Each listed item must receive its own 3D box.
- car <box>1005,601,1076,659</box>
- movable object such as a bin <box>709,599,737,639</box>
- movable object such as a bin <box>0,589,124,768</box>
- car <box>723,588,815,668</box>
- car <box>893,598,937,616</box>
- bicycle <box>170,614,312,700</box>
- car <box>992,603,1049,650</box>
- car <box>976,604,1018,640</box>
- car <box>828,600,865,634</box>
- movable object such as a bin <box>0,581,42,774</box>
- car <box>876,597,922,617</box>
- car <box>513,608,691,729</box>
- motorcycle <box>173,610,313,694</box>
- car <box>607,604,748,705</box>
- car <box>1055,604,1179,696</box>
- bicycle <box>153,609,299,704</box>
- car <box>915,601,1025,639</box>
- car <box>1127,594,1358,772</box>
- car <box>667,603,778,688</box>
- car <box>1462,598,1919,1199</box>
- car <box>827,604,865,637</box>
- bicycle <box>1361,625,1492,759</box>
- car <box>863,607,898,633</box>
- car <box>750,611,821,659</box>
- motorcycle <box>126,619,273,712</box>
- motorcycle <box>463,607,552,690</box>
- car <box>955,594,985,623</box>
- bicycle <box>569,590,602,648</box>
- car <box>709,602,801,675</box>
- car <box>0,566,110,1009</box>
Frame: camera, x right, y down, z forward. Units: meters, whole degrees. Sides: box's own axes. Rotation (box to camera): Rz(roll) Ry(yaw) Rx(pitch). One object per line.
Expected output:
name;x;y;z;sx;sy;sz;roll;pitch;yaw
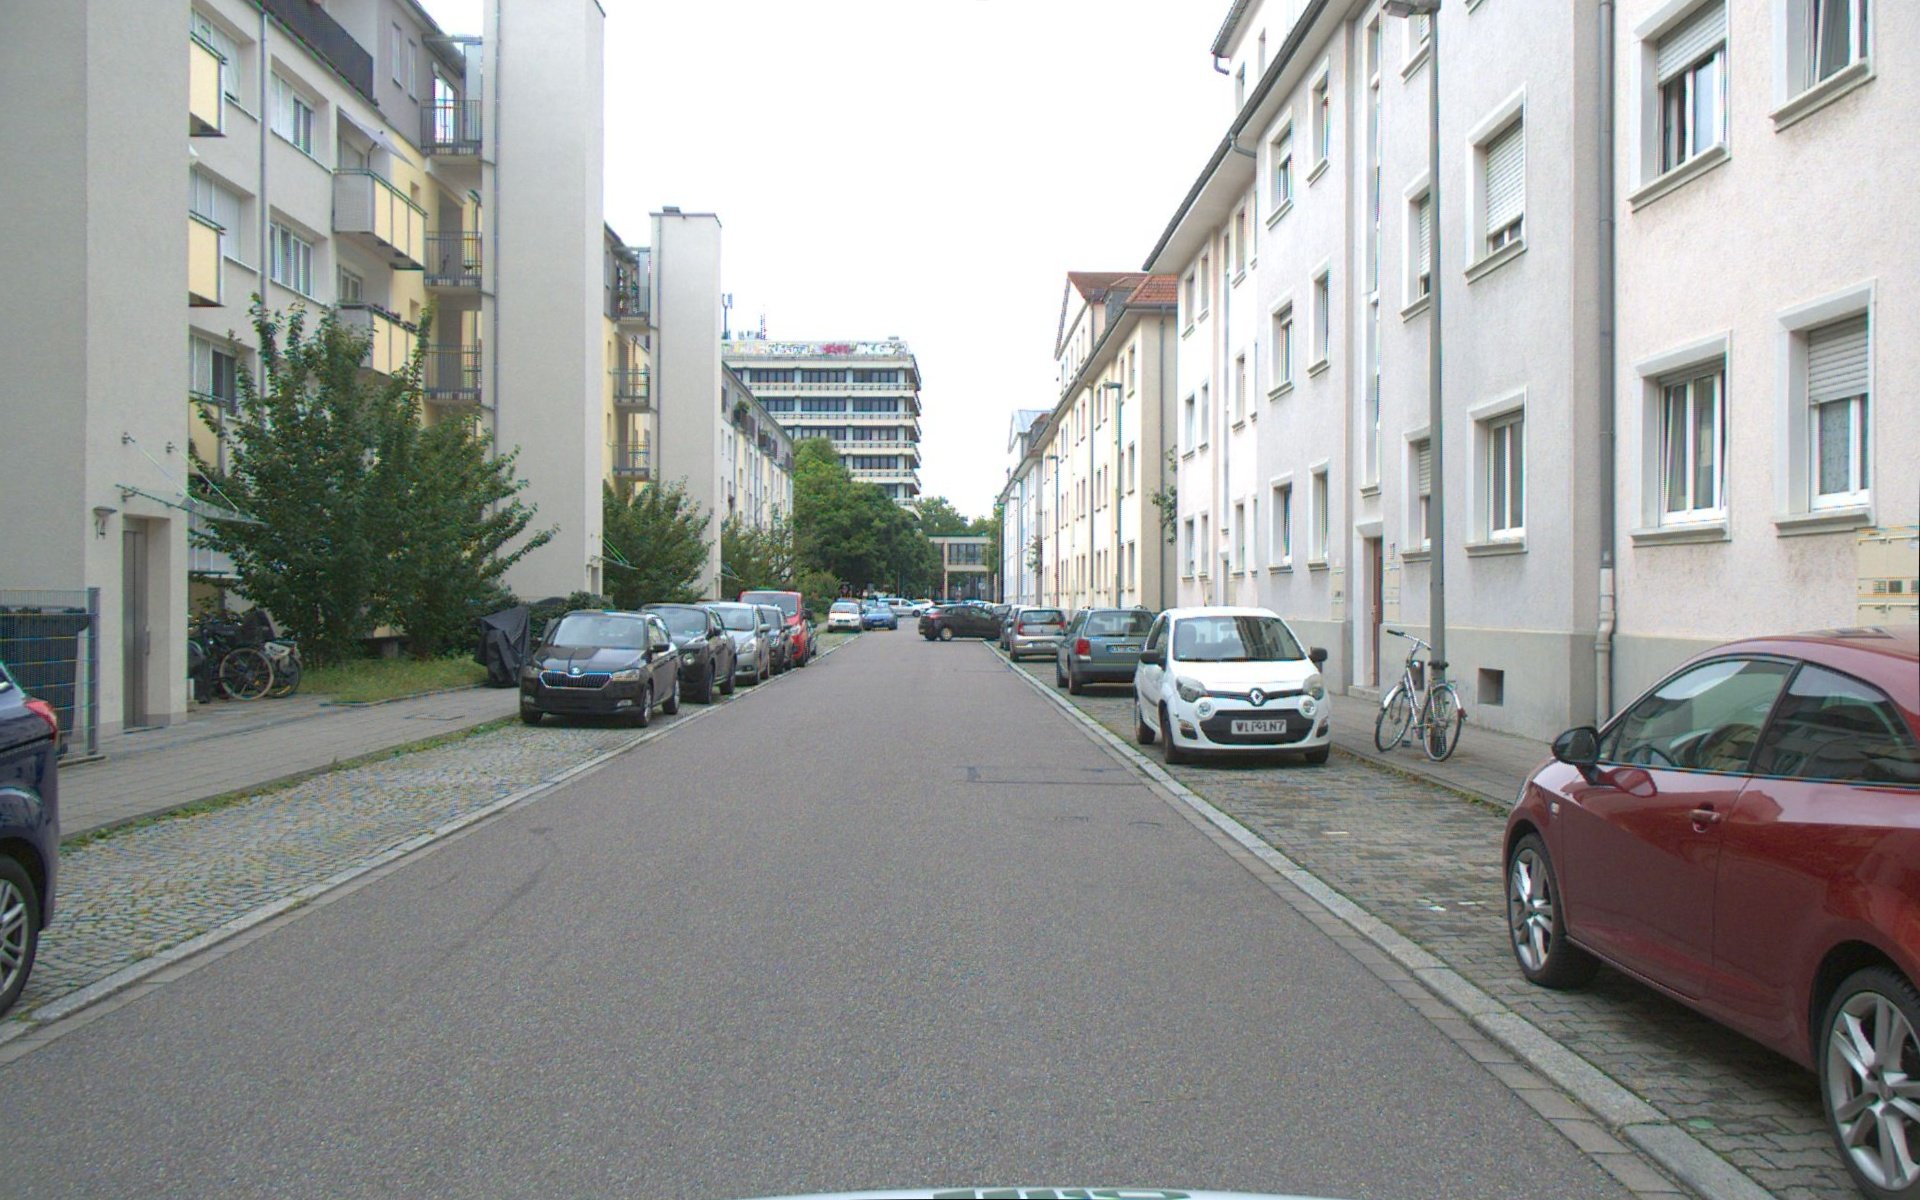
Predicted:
car;2.207;0.807;46.081;1.690;1.518;4.059;0;0;-1
movable object such as a bin;-8.879;0.712;62.108;0.787;1.454;1.288;1;0;3
movable object such as a bin;-8.072;0.646;14.317;0.981;1.472;1.314;1;-1;-1
car;-5.094;0.726;44.664;2.108;1.988;4.918;2;0;-3
car;-4.418;0.697;161.180;4.115;1.681;1.893;-1;0;-8
bicycle;-9.965;0.785;22.951;1.689;1.162;0.608;0;0;-6
car;2.028;0.879;56.336;1.690;1.544;4.059;-1;0;-1
car;1.632;0.942;73.742;1.690;1.544;4.059;-1;0;-1
car;-6.251;0.946;91.275;1.917;1.801;4.359;1;0;-3
movable object such as a bin;-8.073;0.609;12.976;0.981;1.527;1.314;1;-1;-1
car;-5.862;0.687;157.839;4.239;1.822;1.860;-1;0;-7
car;-4.806;0.874;22.669;1.610;1.463;3.855;2;0;-1
motorcycle;-10.204;0.728;23.574;1.715;1.149;0.593;-1;0;-6
car;-4.755;0.880;28.300;1.619;1.557;3.895;2;0;1
car;2.703;0.820;29.330;1.690;1.495;4.263;0;0;-1
bicycle;-9.888;0.754;22.318;1.689;1.246;0.608;0;0;-6
car;0.370;0.800;66.814;4.145;1.458;1.903;-1;0;-13
car;2.803;0.770;17.191;1.747;1.627;3.804;0;0;0
car;-4.835;0.885;34.263;1.798;1.597;4.858;2;0;-3
car;3.153;0.739;5.431;1.718;1.434;3.935;-2;0;-1
car;-5.877;1.031;85.446;1.686;1.597;3.869;2;0;-1
bicycle;4.429;0.838;15.853;0.593;1.160;2.124;-1;0;-1
car;-4.621;1.158;96.684;1.807;1.477;4.501;1;0;0
car;-5.301;1.048;50.716;1.832;1.347;4.360;1;0;-2
motorcycle;-9.905;0.846;21.578;1.583;1.149;0.690;-1;0;-5
motorcycle;-7.721;0.800;28.356;0.851;1.329;2.419;1;0;-1
car;0.613;0.517;101.860;1.783;1.671;4.091;-1;0;0
bicycle;-8.056;0.408;35.653;0.541;1.213;1.725;-1;0;-8
car;-4.828;0.889;39.421;1.686;1.597;4.053;2;0;-1
car;-4.429;0.682;4.679;1.763;1.655;4.471;1;0;-1
